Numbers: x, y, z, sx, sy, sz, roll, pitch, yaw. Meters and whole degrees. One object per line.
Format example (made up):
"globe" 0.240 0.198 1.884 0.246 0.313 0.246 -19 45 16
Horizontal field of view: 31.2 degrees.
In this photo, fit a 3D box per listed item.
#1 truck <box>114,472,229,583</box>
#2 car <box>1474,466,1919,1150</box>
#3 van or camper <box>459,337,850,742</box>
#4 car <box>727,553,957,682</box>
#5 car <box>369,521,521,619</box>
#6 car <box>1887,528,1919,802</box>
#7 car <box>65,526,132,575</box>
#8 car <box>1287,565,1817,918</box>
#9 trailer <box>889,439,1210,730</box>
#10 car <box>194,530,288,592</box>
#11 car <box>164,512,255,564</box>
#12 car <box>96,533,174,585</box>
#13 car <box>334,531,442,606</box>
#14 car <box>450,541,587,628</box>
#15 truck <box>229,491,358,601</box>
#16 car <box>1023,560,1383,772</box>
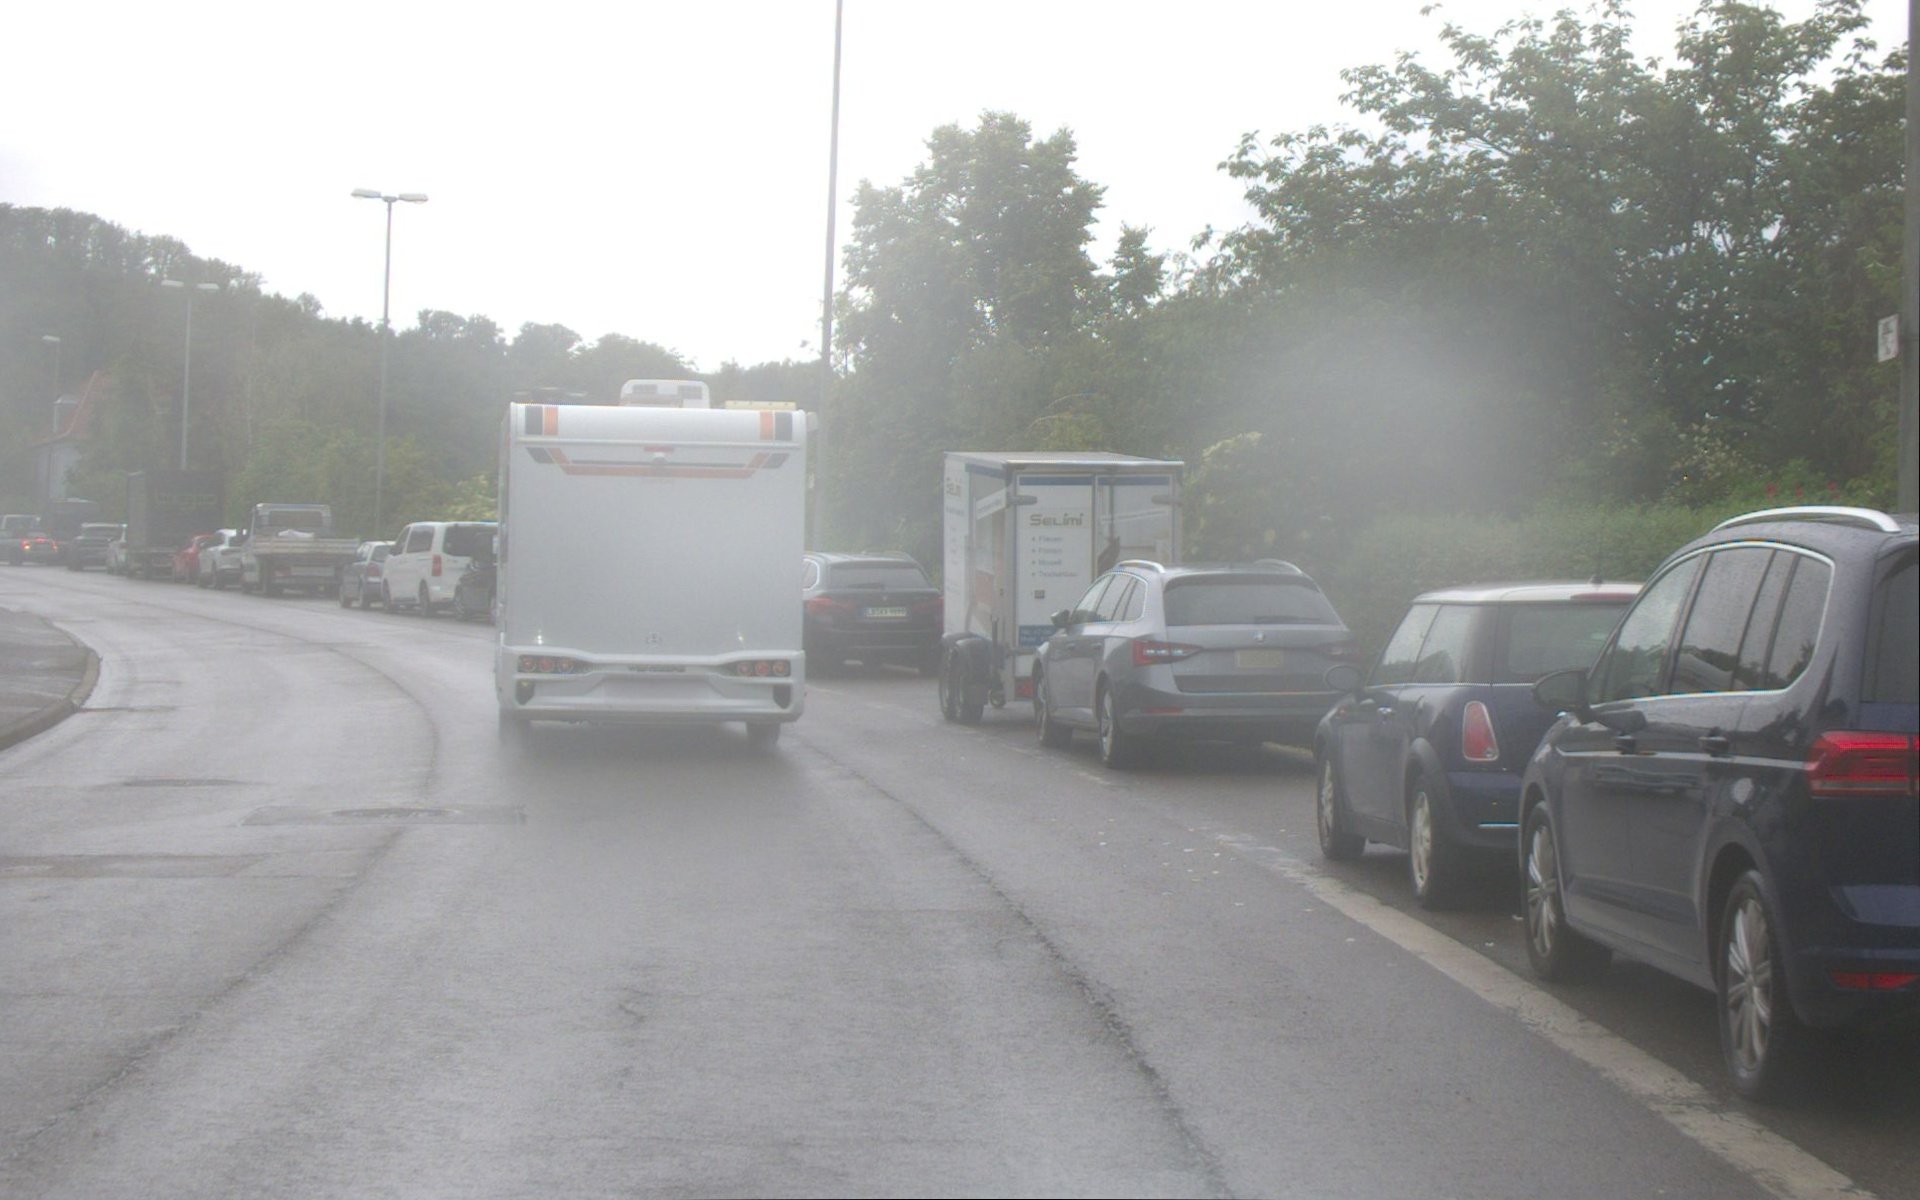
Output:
"truck" -24.696 -2.238 107.460 2.435 3.324 7.967 1 0 -20
"car" 2.901 0.512 10.791 1.829 1.695 4.461 1 0 -1
"van or camper" -2.661 -0.387 28.186 2.615 2.843 6.032 3 -1 -9
"car" -1.518 0.173 42.172 1.792 1.454 4.790 1 1 -15
"car" -10.407 -0.612 69.169 1.848 1.875 4.912 1 0 -23
"car" 7.923 0.568 20.804 4.003 1.682 1.777 5 1 -1
"car" -30.713 -1.775 122.454 1.936 1.666 4.696 1 1 -19
"car" 2.658 0.577 16.240 1.633 1.452 3.701 1 0 -4
"trailer" 0.717 -0.159 31.974 1.948 2.448 5.436 1 0 -9
"car" -19.500 -1.064 93.089 1.759 1.599 4.668 1 0 -21
"car" -21.977 -1.807 100.541 1.831 1.433 4.988 1 0 -21
"car" -27.715 -1.369 115.388 1.845 1.678 5.640 1 0 -20
"car" -12.375 -0.689 74.249 1.647 1.558 3.964 1 0 -19
"car" -8.227 -0.301 63.788 1.644 1.535 4.355 1 0 -19
"truck" -16.810 -1.349 86.478 2.238 2.622 6.540 1 0 -19
"car" 1.703 0.427 25.752 1.747 1.419 4.705 1 0 -8
